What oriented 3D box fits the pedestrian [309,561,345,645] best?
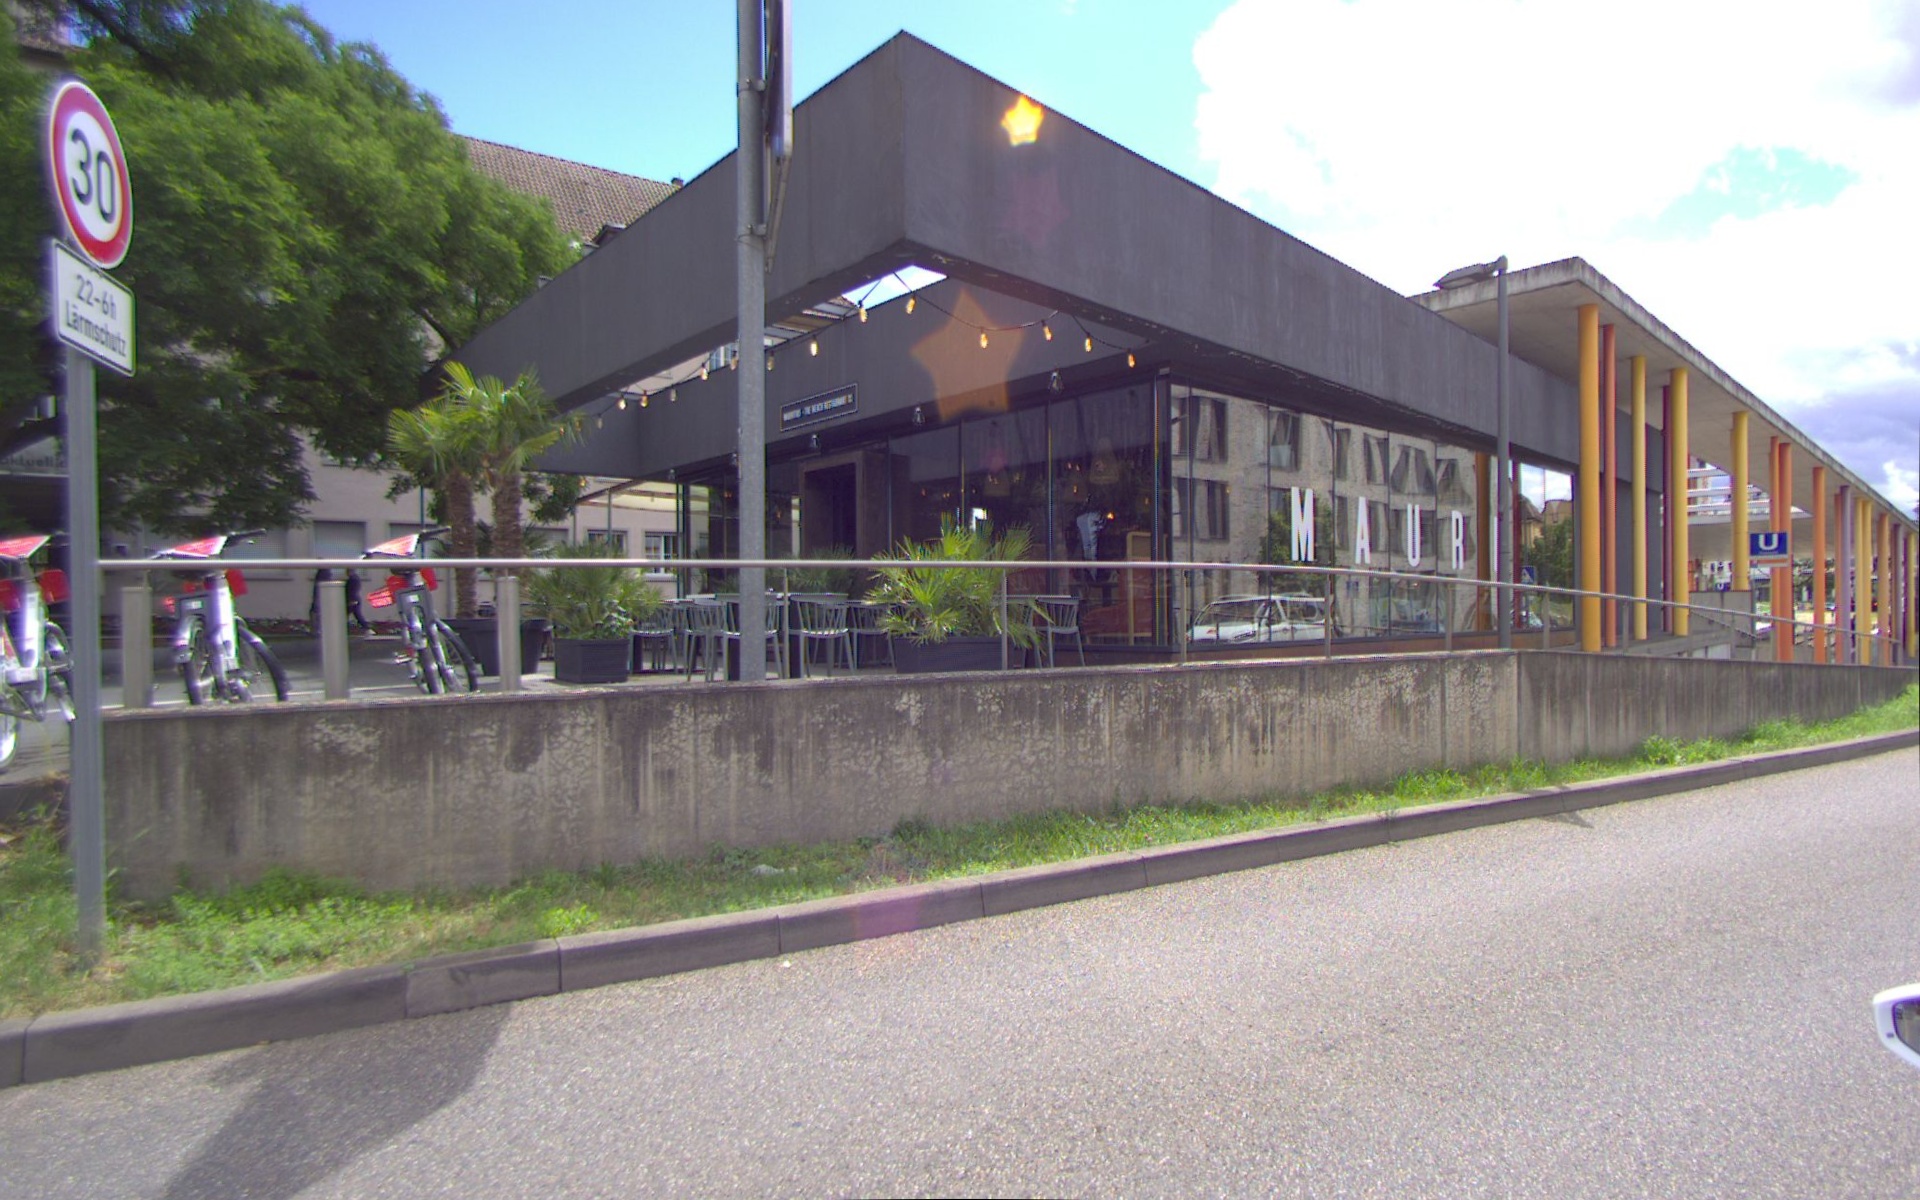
[{"bbox_3d":[-14.141,0.074,22.462,0.586,1.832,0.639,2,0,-29],"label":"pedestrian"}]

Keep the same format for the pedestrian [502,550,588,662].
[{"bbox_3d":[-5.416,0.085,13.098,0.787,1.397,0.790,2,0,-42],"label":"pedestrian"}]

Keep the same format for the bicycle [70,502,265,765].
[{"bbox_3d":[-4.013,0.163,5.187,0.527,1.142,1.540,0,-1,-28],"label":"bicycle"}]

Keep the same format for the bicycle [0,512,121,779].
[{"bbox_3d":[-4.635,0.210,4.901,0.527,1.142,1.540,0,-1,-28],"label":"bicycle"}]

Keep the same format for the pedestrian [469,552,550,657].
[{"bbox_3d":[-6.224,0.063,13.877,0.787,1.397,0.790,2,0,-42],"label":"pedestrian"}]

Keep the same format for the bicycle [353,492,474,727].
[{"bbox_3d":[-3.091,0.063,5.699,0.527,1.142,1.540,0,-1,-28],"label":"bicycle"}]

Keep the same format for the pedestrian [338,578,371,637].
[{"bbox_3d":[-14.192,0.173,23.558,0.586,1.356,0.639,2,0,-29],"label":"pedestrian"}]
